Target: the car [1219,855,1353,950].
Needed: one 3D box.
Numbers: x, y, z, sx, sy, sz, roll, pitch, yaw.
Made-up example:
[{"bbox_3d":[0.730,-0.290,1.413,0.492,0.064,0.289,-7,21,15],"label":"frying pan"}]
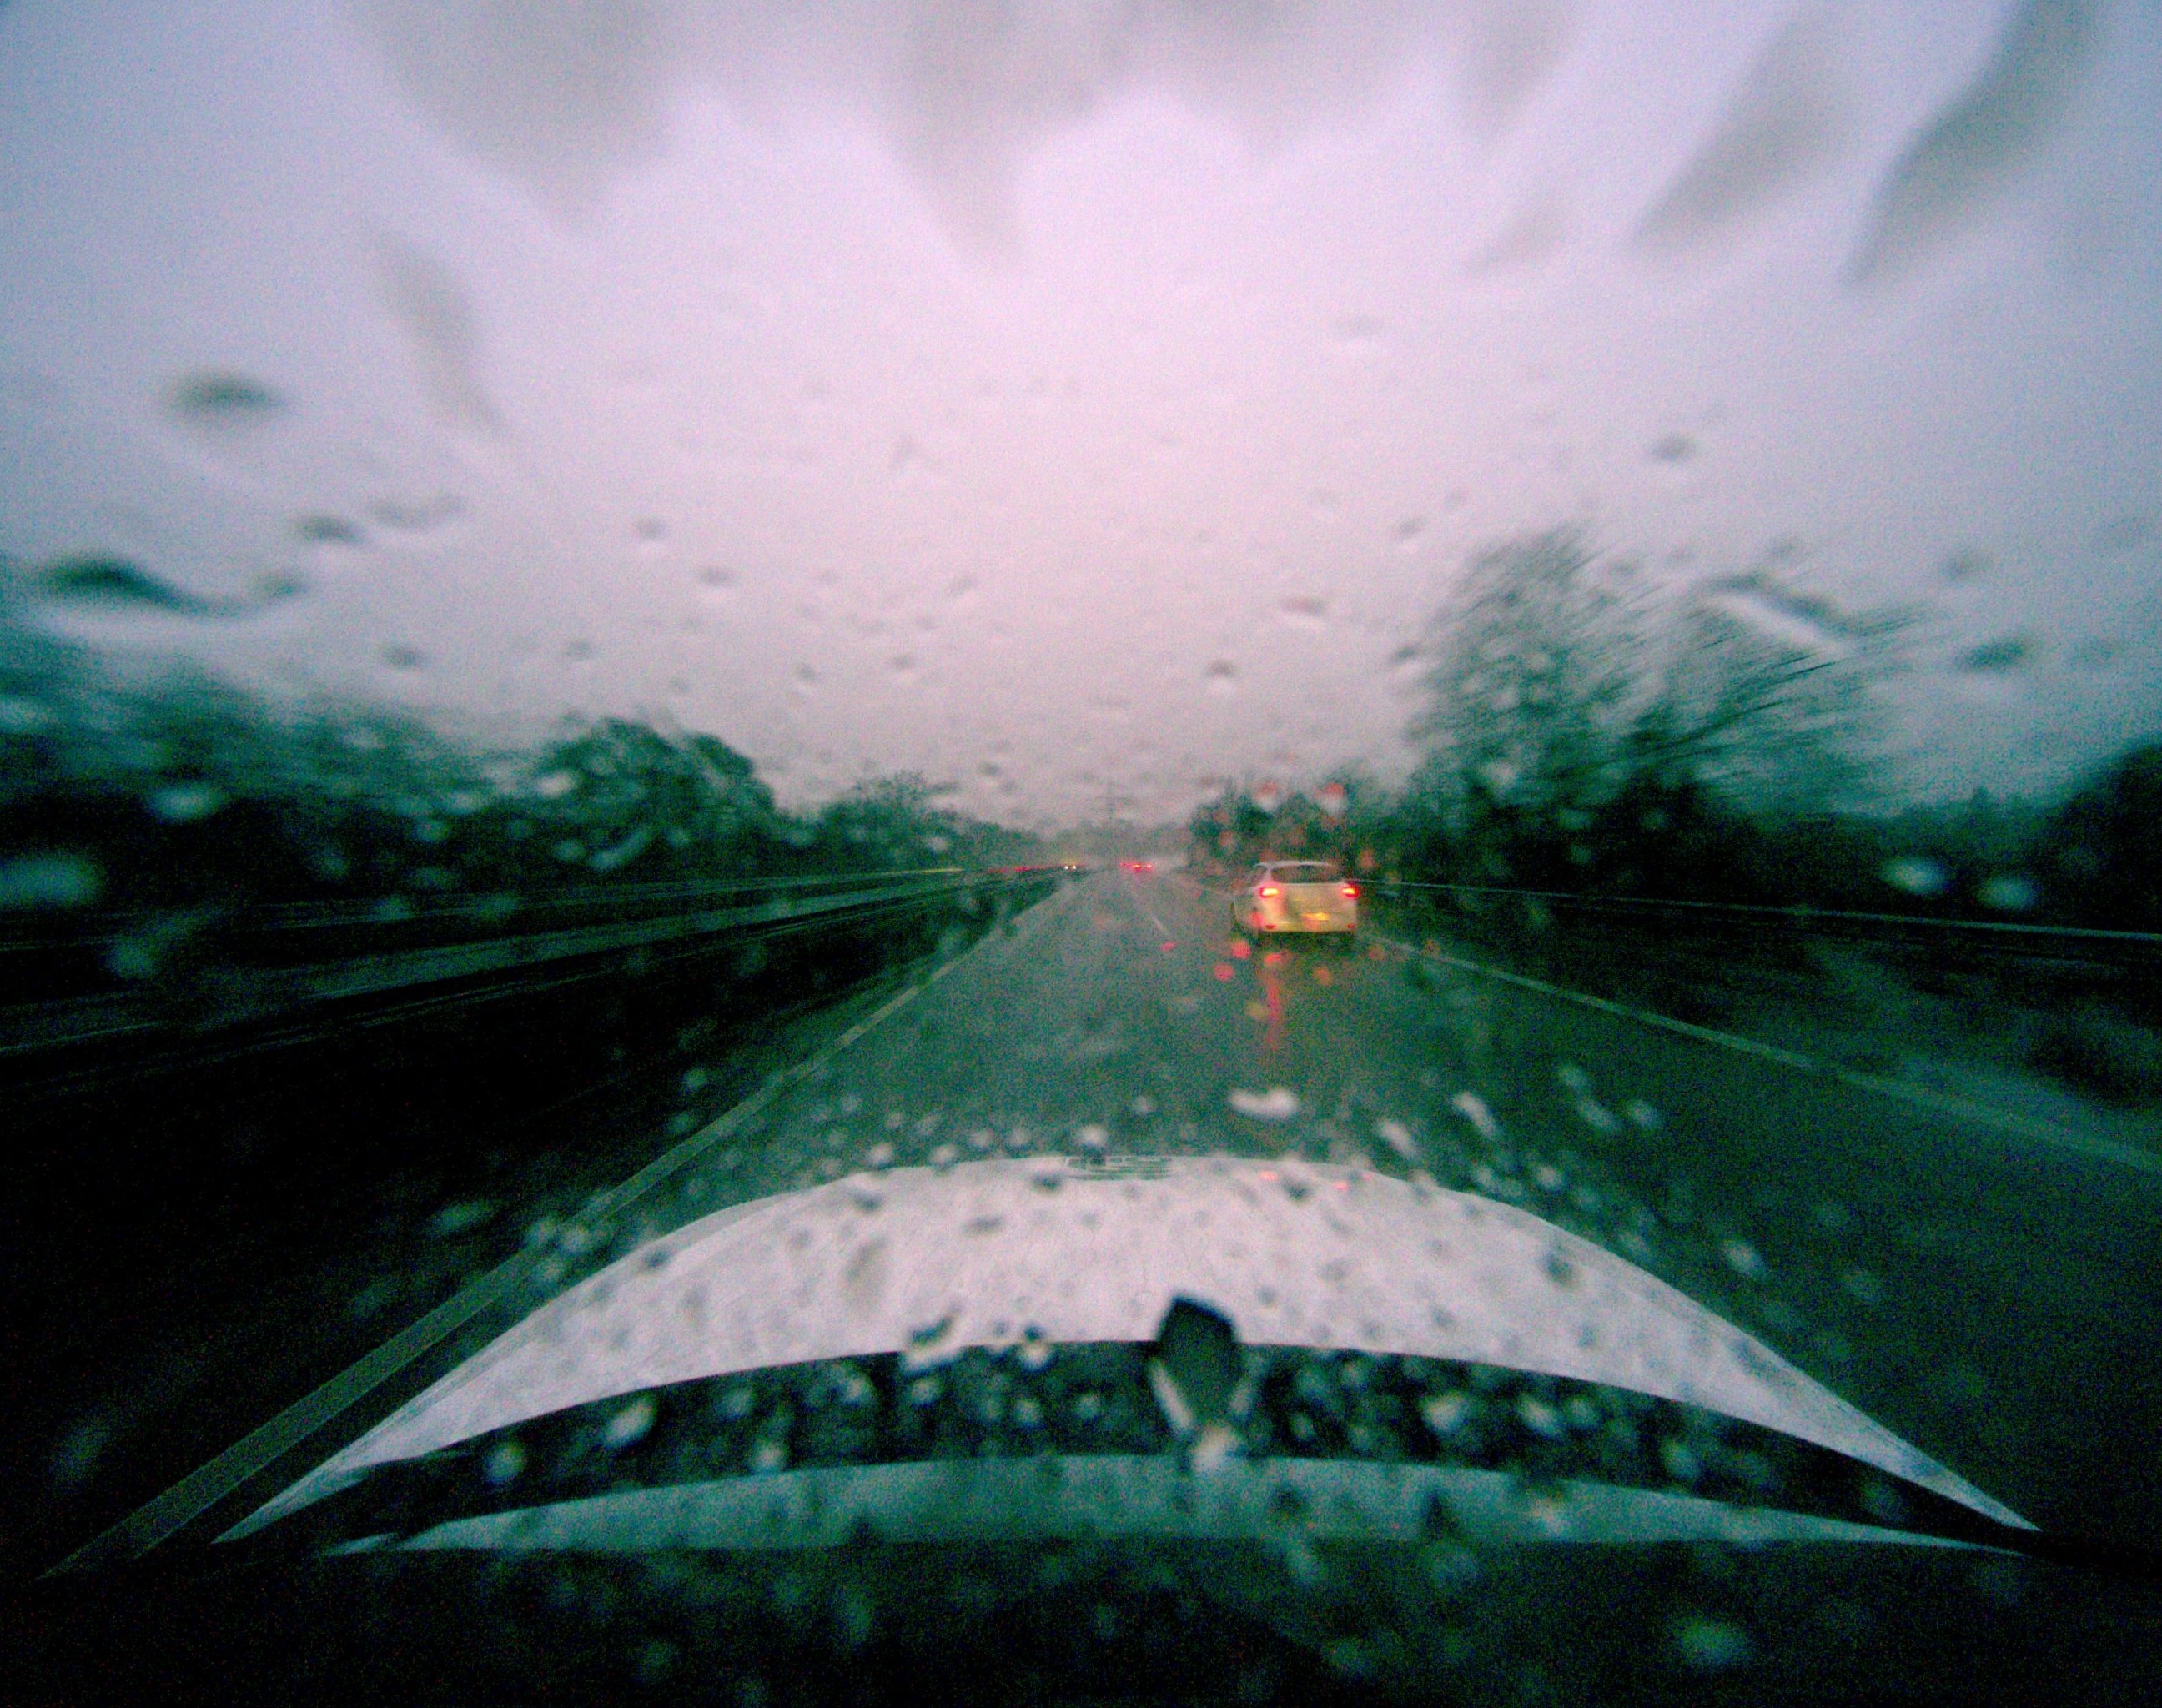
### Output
[{"bbox_3d":[3.930,0.855,16.256,1.838,1.636,3.770,-1,0,2],"label":"car"}]
